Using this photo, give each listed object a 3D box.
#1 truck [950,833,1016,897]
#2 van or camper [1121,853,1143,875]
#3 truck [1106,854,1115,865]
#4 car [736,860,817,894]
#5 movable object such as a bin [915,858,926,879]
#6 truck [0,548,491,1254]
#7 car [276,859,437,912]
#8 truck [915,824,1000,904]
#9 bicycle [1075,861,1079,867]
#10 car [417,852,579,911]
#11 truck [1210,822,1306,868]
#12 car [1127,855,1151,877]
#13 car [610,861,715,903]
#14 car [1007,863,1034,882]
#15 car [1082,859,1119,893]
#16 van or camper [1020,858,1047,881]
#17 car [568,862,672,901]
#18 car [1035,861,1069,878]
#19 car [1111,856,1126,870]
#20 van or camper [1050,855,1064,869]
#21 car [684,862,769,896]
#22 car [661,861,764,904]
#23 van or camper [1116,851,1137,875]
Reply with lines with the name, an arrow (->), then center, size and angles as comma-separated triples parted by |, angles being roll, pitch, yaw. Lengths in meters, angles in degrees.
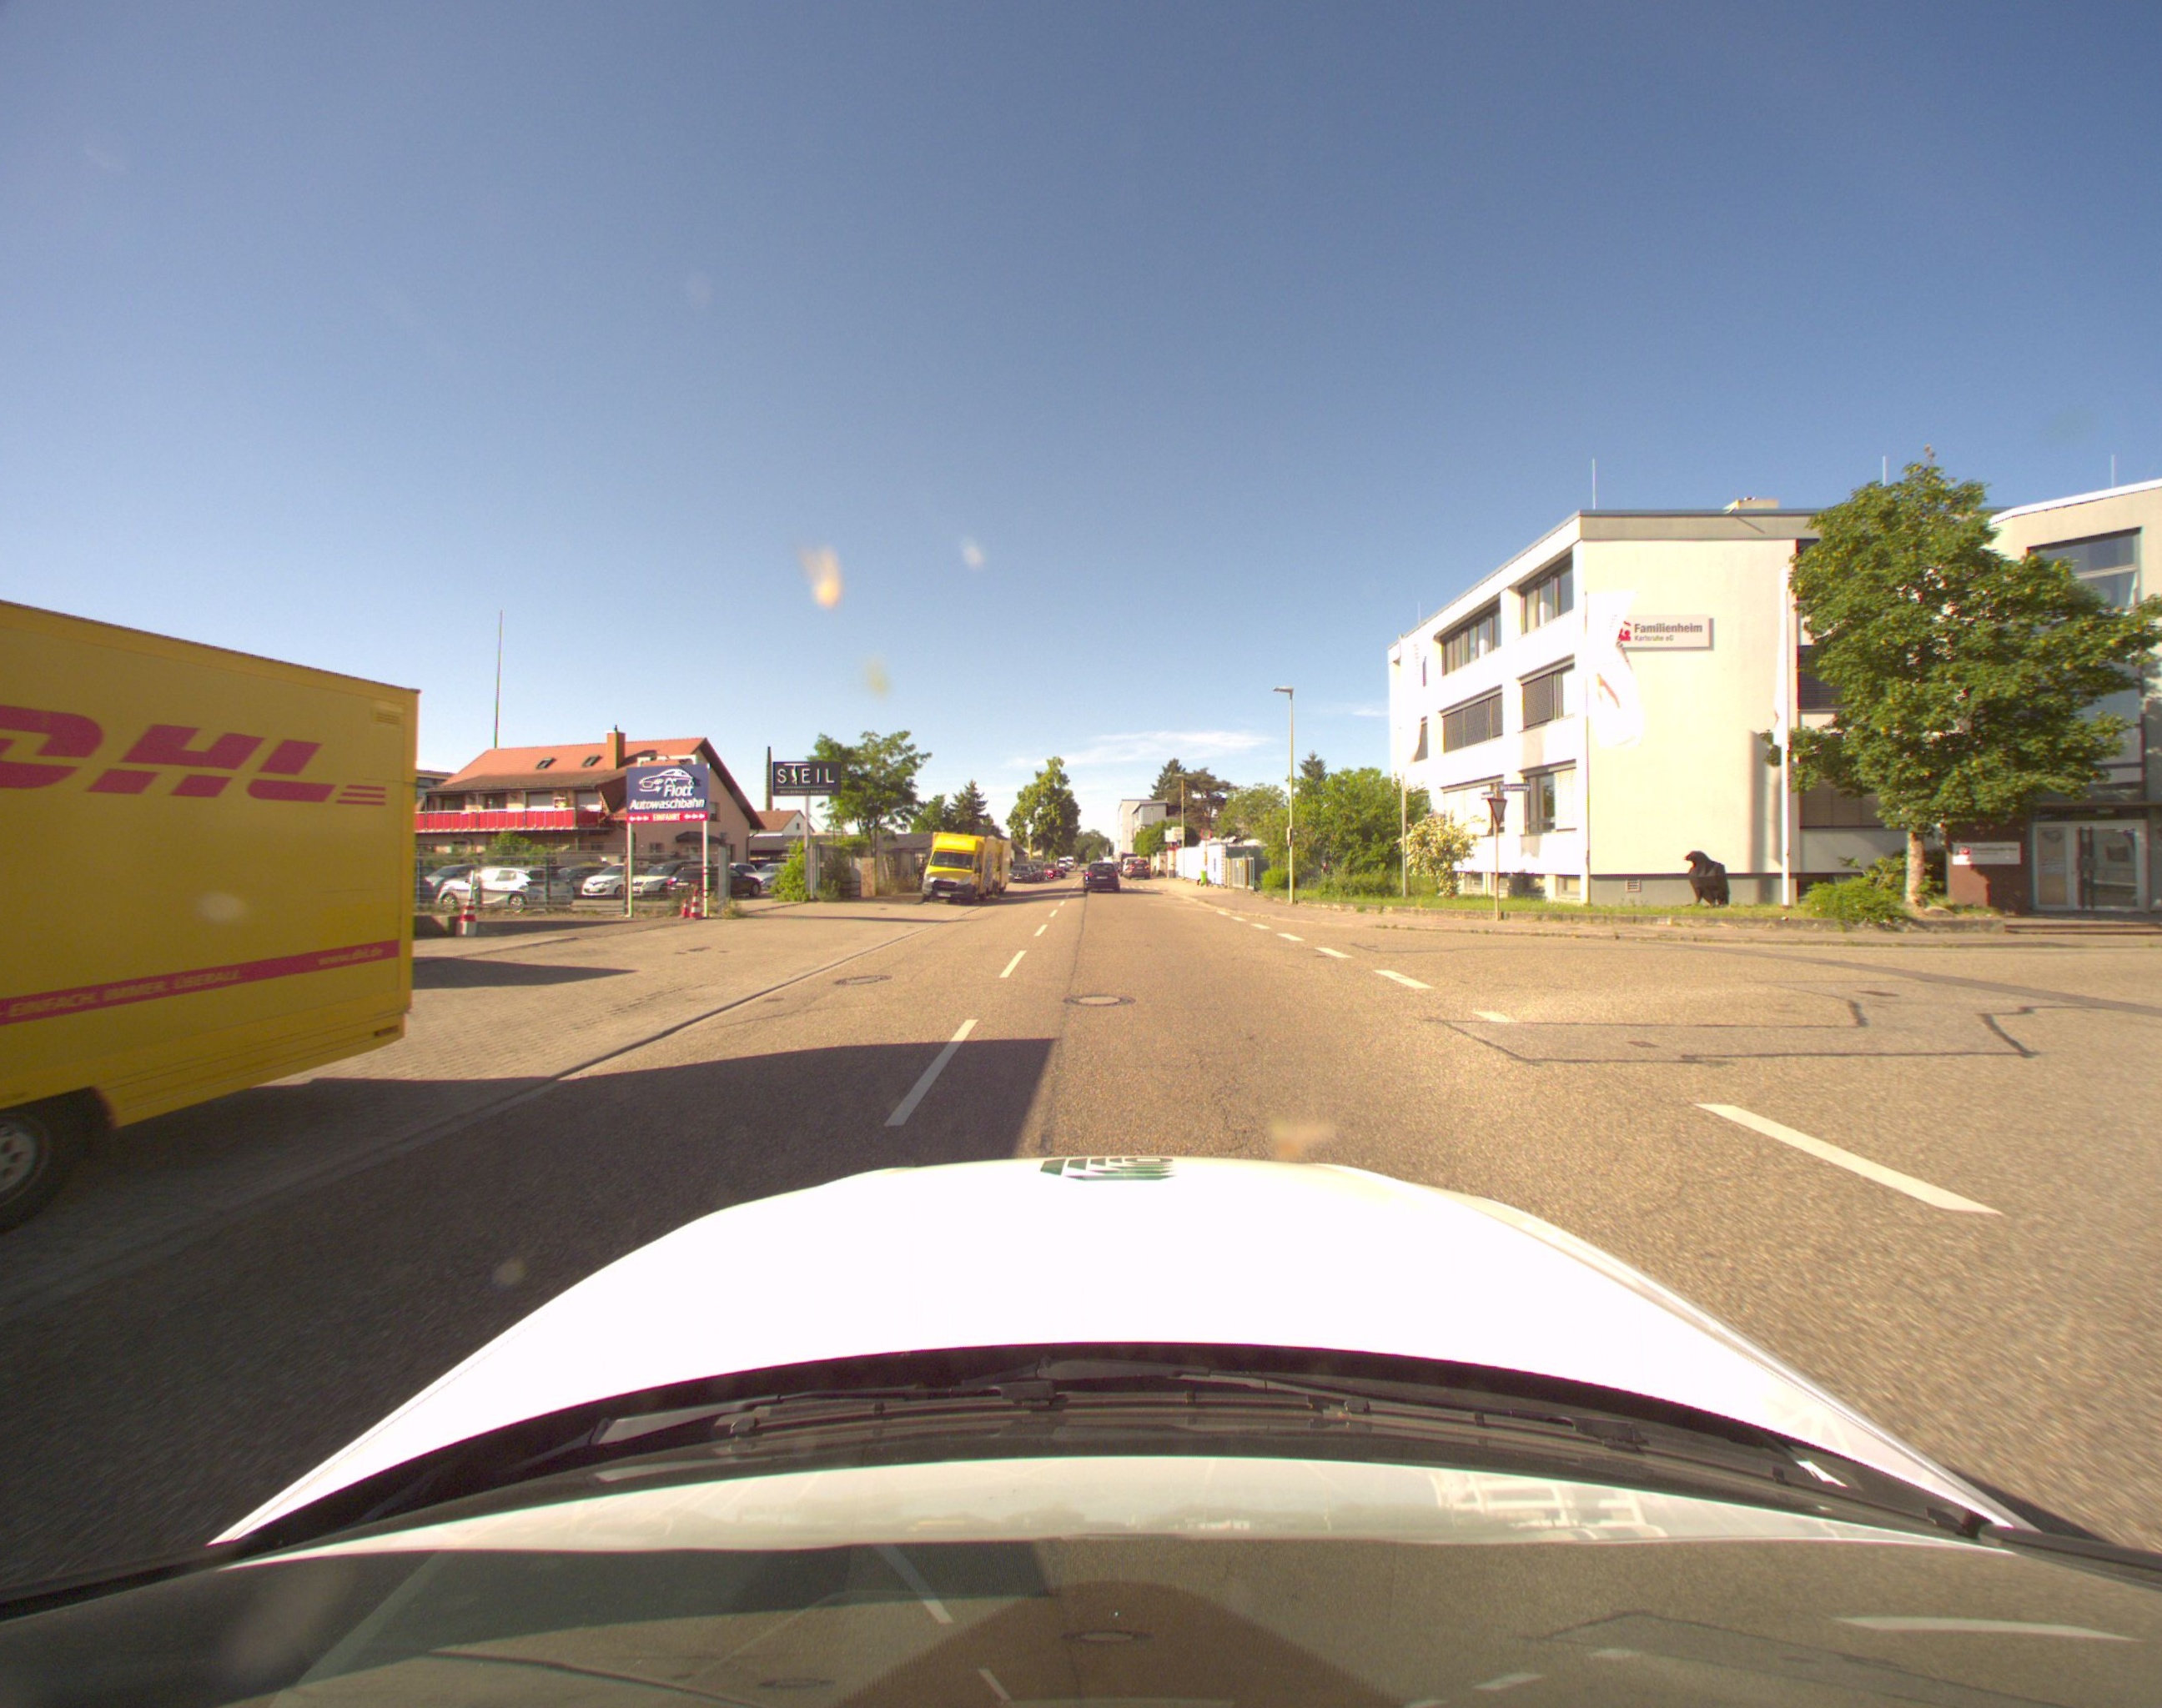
truck -> -4.777, 0.500, 40.810 | 2.184, 2.902, 6.441 | 2, 0, 2
van or camper -> 4.898, 0.968, 78.020 | 1.912, 2.019, 4.080 | 0, 0, 1
truck -> 6.381, 1.263, 177.343 | 1.986, 2.288, 6.956 | 0, 0, 1
car -> -14.802, 1.080, 39.858 | 1.682, 1.578, 4.060 | -1, 0, 15
movable object such as a bin -> -10.622, 0.953, 53.901 | 0.583, 1.340, 0.549 | -1, 0, 1
truck -> -5.755, 0.178, 2.586 | 2.395, 2.983, 7.244 | 1, 0, 0
car -> -23.792, 1.020, 26.803 | 4.062, 1.658, 1.851 | -1, 0, 11
truck -> -4.997, 0.398, 34.041 | 2.394, 2.983, 6.375 | 1, 0, 1
bicycle -> -0.742, 1.894, 153.040 | 0.826, 1.153, 2.939 | -1, 0, 0
car -> -18.341, 0.842, 25.699 | 4.062, 1.792, 1.851 | -1, 0, 11
truck -> 14.750, -0.737, 68.116 | 7.358, 3.771, 2.829 | 0, 0, -4
car -> 5.038, 1.029, 71.460 | 1.912, 1.825, 4.080 | 0, 0, 1
car -> -17.730, 1.143, 34.738 | 1.682, 1.661, 4.060 | -1, 0, 15
car -> -4.635, 1.401, 62.656 | 1.751, 1.403, 4.555 | 0, 0, -1
car -> 0.976, 1.029, 39.481 | 1.705, 1.532, 3.689 | -1, 0, 2
van or camper -> -4.198, 1.367, 72.505 | 1.883, 1.926, 4.268 | -1, -1, 2
car -> -20.154, 1.184, 35.805 | 1.682, 1.578, 3.933 | -1, 0, 15
car -> -2.804, 1.492, 77.796 | 1.884, 1.485, 4.013 | -2, 0, -23
car -> 5.112, 1.188, 110.482 | 1.912, 1.825, 4.080 | 0, 0, 1
van or camper -> -4.338, 1.347, 144.374 | 2.318, 2.362, 6.521 | 0, 0, -3
car -> -17.608, 1.198, 40.662 | 1.682, 1.578, 4.060 | -1, 0, 15
car -> -15.247, 1.135, 33.930 | 1.682, 1.578, 4.060 | -1, 0, 15
van or camper -> 4.646, 0.916, 83.193 | 1.986, 2.310, 4.001 | 0, 0, 1
